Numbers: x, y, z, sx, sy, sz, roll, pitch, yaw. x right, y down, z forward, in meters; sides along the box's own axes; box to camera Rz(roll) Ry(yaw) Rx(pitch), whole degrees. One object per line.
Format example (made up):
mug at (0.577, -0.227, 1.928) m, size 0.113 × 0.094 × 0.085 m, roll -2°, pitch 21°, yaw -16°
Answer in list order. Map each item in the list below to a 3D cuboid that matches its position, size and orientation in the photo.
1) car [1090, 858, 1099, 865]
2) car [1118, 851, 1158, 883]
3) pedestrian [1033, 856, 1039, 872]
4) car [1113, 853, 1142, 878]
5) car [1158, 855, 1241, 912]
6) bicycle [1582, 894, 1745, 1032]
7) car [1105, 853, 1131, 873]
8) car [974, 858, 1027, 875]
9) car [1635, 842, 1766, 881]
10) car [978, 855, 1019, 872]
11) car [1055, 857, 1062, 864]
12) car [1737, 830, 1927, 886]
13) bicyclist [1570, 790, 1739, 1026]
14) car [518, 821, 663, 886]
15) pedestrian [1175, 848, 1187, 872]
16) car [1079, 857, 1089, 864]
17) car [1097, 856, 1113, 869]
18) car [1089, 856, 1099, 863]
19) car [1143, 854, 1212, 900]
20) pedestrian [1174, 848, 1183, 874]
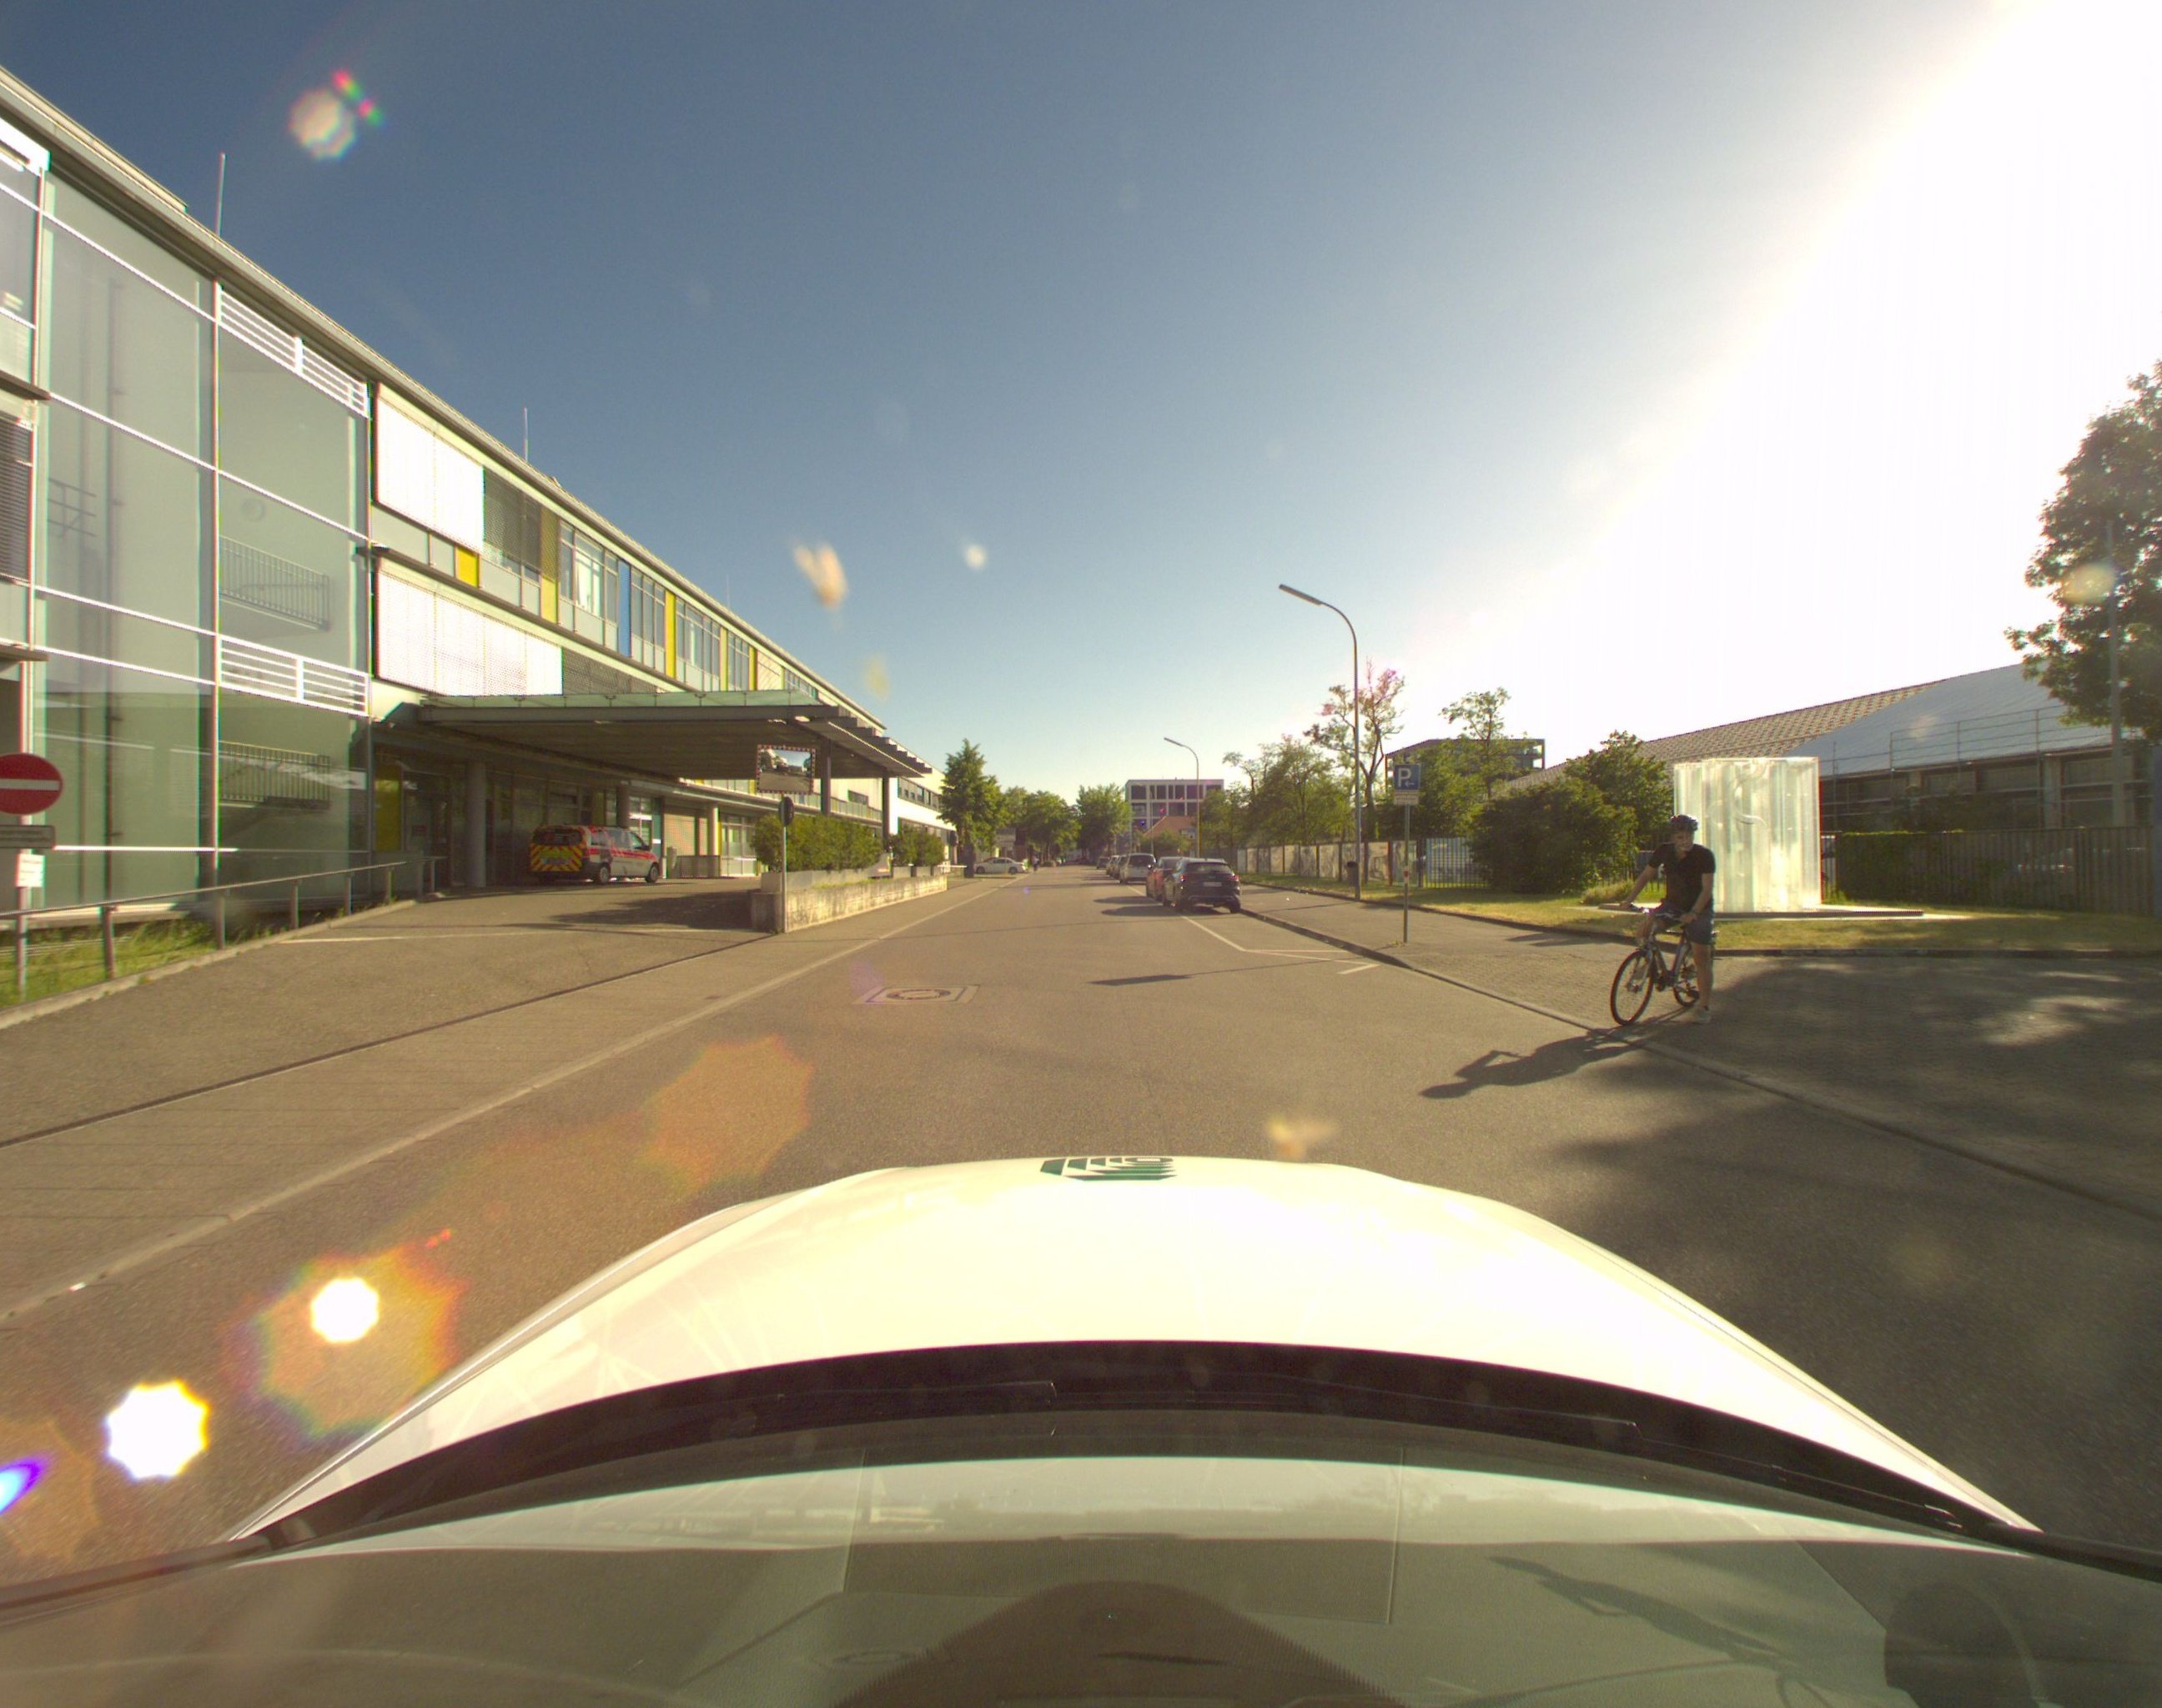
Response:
car at (3.056, 1.654, 186.684) m, size 1.944 × 1.578 × 3.836 m, roll 0°, pitch 0°, yaw 0°
car at (3.157, 0.695, 45.904) m, size 1.804 × 1.722 × 4.701 m, roll 1°, pitch 0°, yaw -2°
pedestrian at (-4.265, 0.934, 76.805) m, size 0.536 × 1.524 × 0.607 m, roll -1°, pitch 0°, yaw 0°
car at (3.103, 0.750, 55.219) m, size 1.695 × 1.606 × 4.352 m, roll 1°, pitch 0°, yaw 0°
car at (3.349, 0.788, 23.786) m, size 1.696 × 1.487 × 4.212 m, roll 1°, pitch 0°, yaw -2°
bicycle at (5.612, 0.974, 7.802) m, size 1.894 × 1.008 × 0.693 m, roll -3°, pitch 1°, yaw -36°
car at (3.080, 0.758, 68.792) m, size 1.808 × 1.588 × 4.258 m, roll 1°, pitch 0°, yaw -2°
car at (-6.995, 1.078, 71.091) m, size 4.505 × 1.367 × 1.696 m, roll 2°, pitch 0°, yaw -6°
car at (23.720, 0.272, 31.237) m, size 3.881 × 1.379 × 1.673 m, roll -1°, pitch 0°, yaw -4°
car at (-7.453, 0.885, 73.920) m, size 3.626 × 1.469 × 1.612 m, roll 1°, pitch 0°, yaw -3°
car at (-5.482, 1.603, 197.259) m, size 1.762 × 1.487 × 3.997 m, roll -1°, pitch 0°, yaw -2°
car at (24.231, 0.110, 26.380) m, size 4.623 × 1.668 × 1.996 m, roll -1°, pitch 0°, yaw -6°
bicyclist at (5.374, 0.446, 7.641) m, size 1.057 × 2.013 × 0.949 m, roll -3°, pitch 1°, yaw -35°
car at (-15.804, -0.020, 26.584) m, size 1.914 × 1.891 × 4.709 m, roll -1°, pitch 0°, yaw -1°
pedestrian at (6.637, 0.408, 54.110) m, size 0.679 × 1.611 × 0.540 m, roll 1°, pitch -1°, yaw -3°
car at (0.585, 1.365, 168.307) m, size 1.762 × 1.548 × 4.063 m, roll -1°, pitch 0°, yaw -2°
car at (2.842, 1.041, 96.488) m, size 1.812 × 1.453 × 4.214 m, roll -1°, pitch 0°, yaw 0°
car at (2.426, 1.089, 157.598) m, size 1.762 × 1.440 × 3.997 m, roll -1°, pitch 0°, yaw -2°
car at (3.397, 0.775, 29.570) m, size 1.804 × 1.510 × 4.719 m, roll 1°, pitch 0°, yaw -2°
pedestrian at (6.663, 0.473, 55.590) m, size 0.520 × 1.708 × 0.521 m, roll 1°, pitch -1°, yaw -3°
